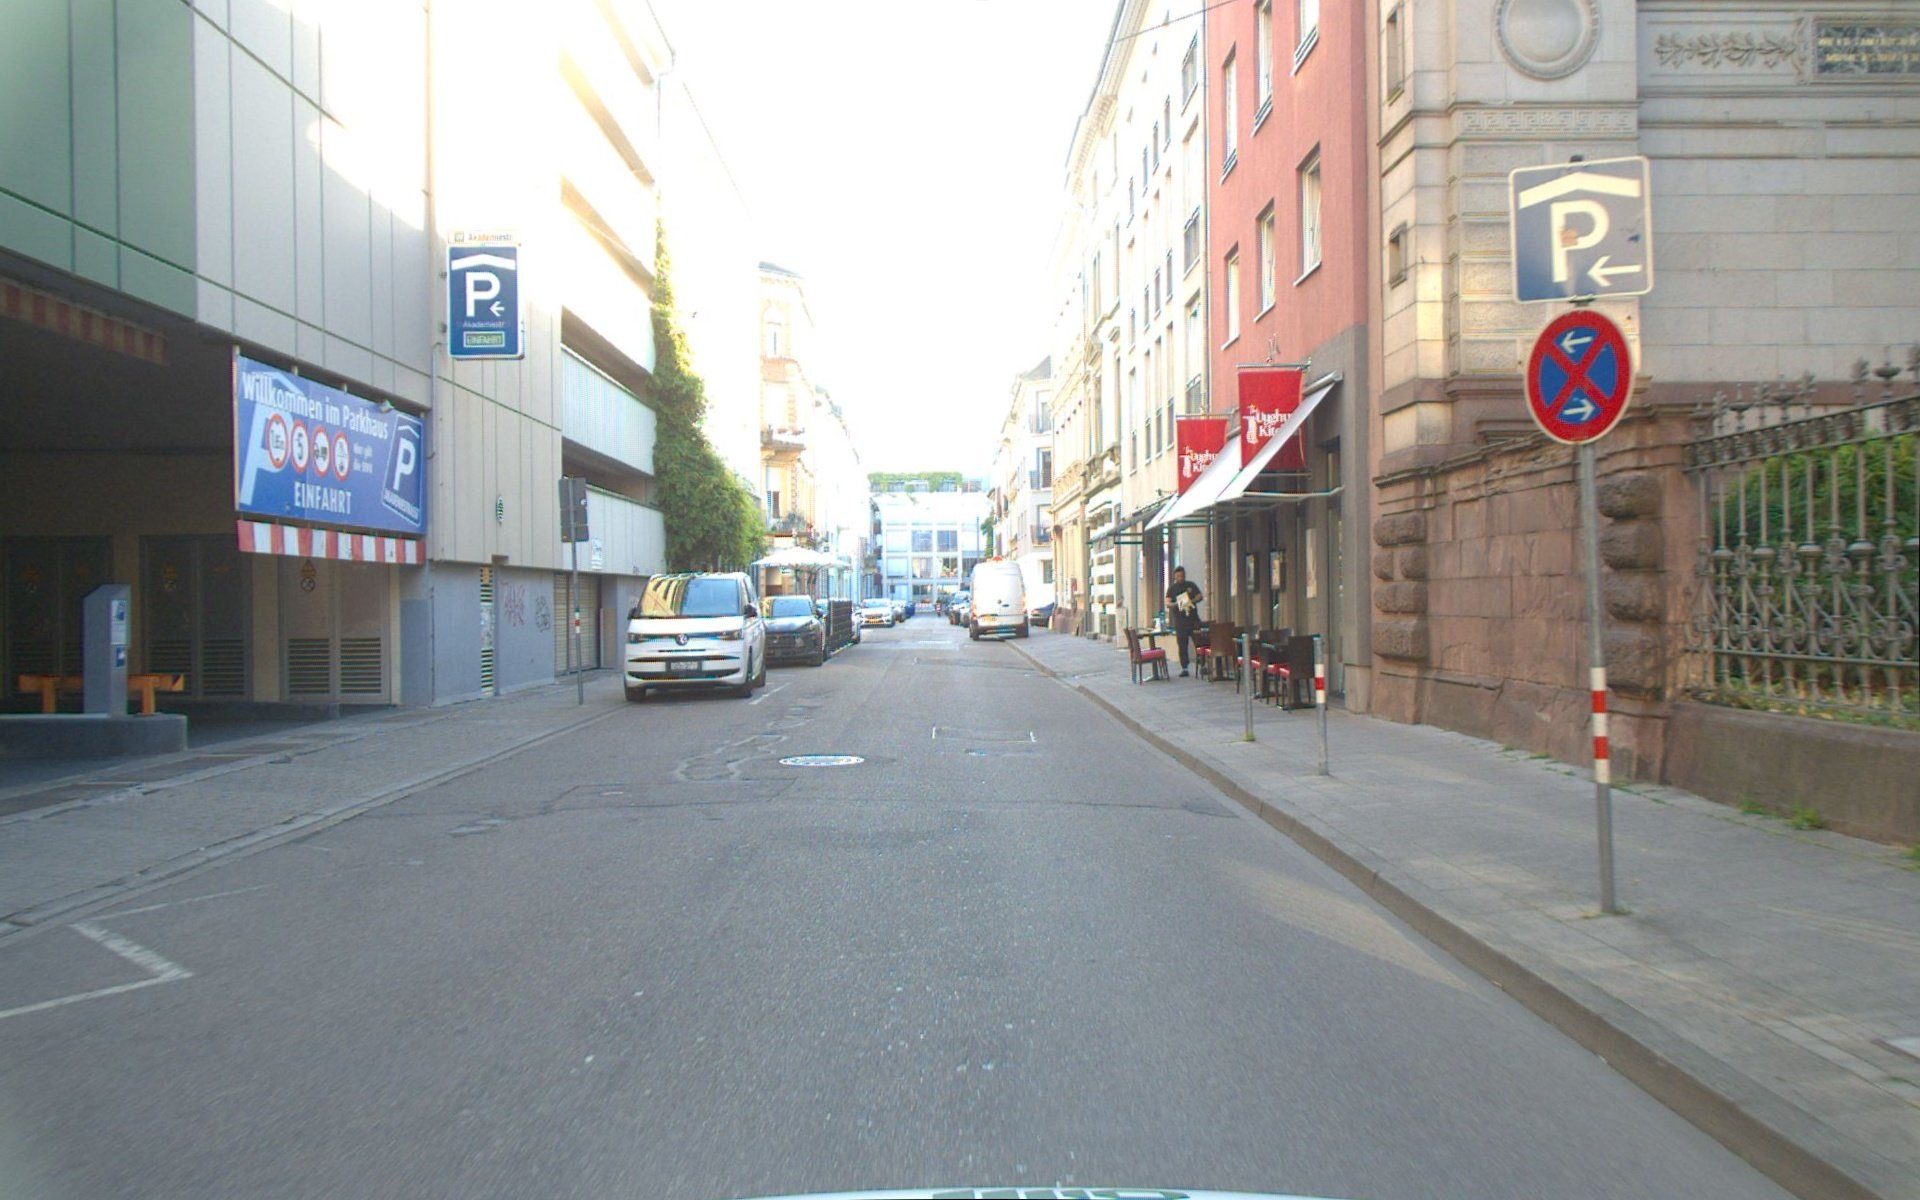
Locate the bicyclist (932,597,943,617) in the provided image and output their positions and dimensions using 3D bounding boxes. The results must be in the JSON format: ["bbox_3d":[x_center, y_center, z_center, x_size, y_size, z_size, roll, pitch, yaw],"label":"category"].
[{"bbox_3d":[-2.047,0.649,151.984,0.970,1.901,0.708,0,-1,-1],"label":"bicyclist"}]

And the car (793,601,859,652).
[{"bbox_3d":[-4.091,0.786,51.087,1.845,1.478,3.998,-1,0,-2],"label":"car"}]

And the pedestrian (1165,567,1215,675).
[{"bbox_3d":[3.710,0.330,26.707,0.648,1.695,0.624,-3,0,-1],"label":"pedestrian"}]

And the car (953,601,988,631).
[{"bbox_3d":[0.570,0.946,96.206,1.953,1.713,3.999,0,-1,-1],"label":"car"}]

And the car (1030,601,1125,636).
[{"bbox_3d":[4.958,0.804,70.397,3.906,1.445,1.656,0,-1,-1],"label":"car"}]

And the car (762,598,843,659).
[{"bbox_3d":[-3.987,0.695,42.488,1.845,1.478,3.998,-1,0,-2],"label":"car"}]

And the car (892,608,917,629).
[{"bbox_3d":[-4.628,1.542,138.433,1.953,1.713,3.999,0,-1,-1],"label":"car"}]

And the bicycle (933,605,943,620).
[{"bbox_3d":[-2.027,1.170,152.152,0.955,1.303,2.753,0,-1,-1],"label":"bicycle"}]

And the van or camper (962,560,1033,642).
[{"bbox_3d":[1.299,0.071,59.813,2.213,2.652,5.111,-5,-1,-1],"label":"van or camper"}]

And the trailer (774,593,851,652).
[{"bbox_3d":[-4.117,0.646,46.760,1.953,1.584,3.998,0,-1,-2],"label":"trailer"}]

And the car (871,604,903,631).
[{"bbox_3d":[-4.801,1.154,108.807,1.953,1.713,3.999,0,-1,-1],"label":"car"}]

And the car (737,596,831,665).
[{"bbox_3d":[-3.945,0.662,37.646,1.845,1.478,3.998,-1,0,-2],"label":"car"}]

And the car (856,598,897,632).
[{"bbox_3d":[-4.303,0.778,85.709,1.953,1.713,3.999,0,-1,-1],"label":"car"}]

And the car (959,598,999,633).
[{"bbox_3d":[0.955,0.787,84.370,1.953,1.713,3.999,0,-1,-1],"label":"car"}]

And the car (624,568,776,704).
[{"bbox_3d":[-4.023,0.526,26.317,1.846,1.945,4.745,-1,0,-3],"label":"car"}]
